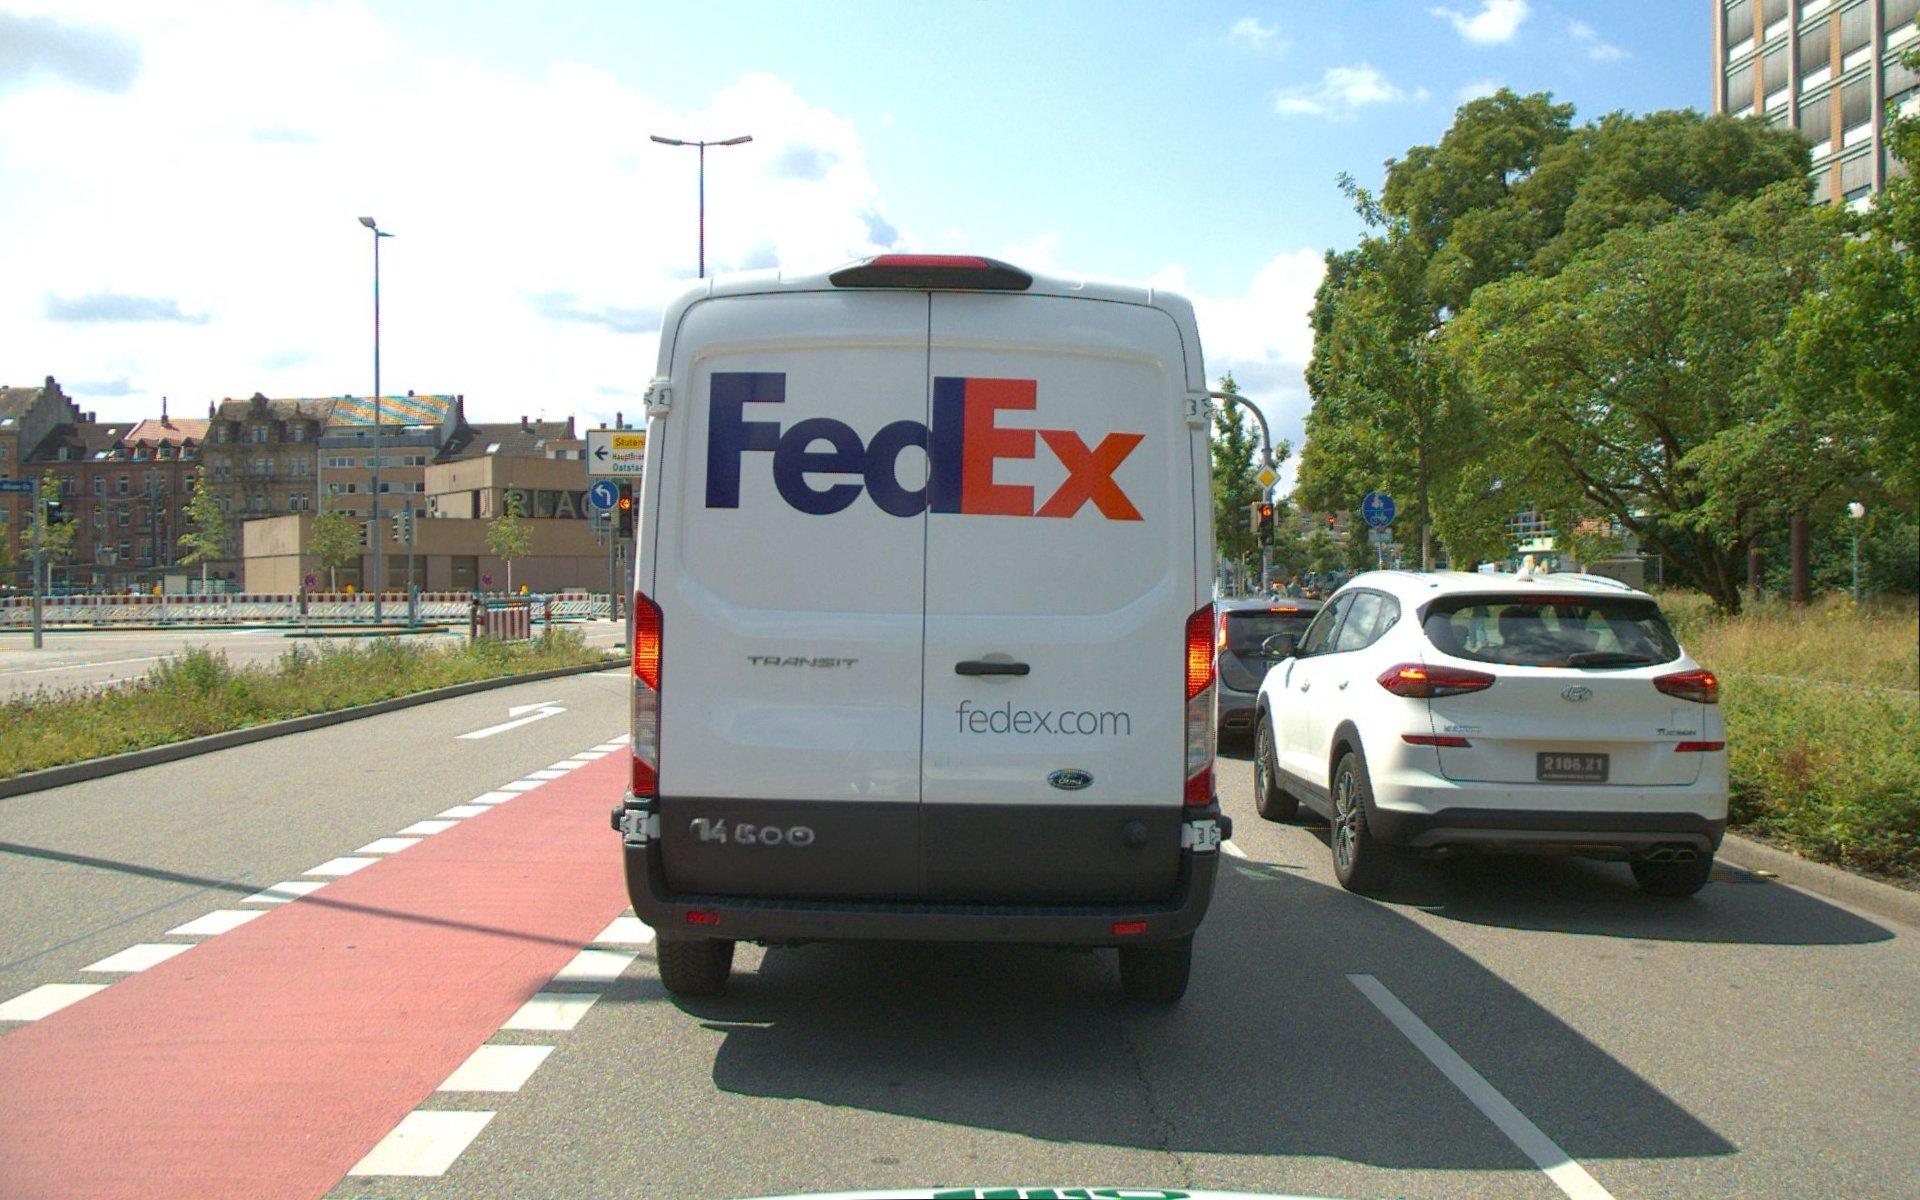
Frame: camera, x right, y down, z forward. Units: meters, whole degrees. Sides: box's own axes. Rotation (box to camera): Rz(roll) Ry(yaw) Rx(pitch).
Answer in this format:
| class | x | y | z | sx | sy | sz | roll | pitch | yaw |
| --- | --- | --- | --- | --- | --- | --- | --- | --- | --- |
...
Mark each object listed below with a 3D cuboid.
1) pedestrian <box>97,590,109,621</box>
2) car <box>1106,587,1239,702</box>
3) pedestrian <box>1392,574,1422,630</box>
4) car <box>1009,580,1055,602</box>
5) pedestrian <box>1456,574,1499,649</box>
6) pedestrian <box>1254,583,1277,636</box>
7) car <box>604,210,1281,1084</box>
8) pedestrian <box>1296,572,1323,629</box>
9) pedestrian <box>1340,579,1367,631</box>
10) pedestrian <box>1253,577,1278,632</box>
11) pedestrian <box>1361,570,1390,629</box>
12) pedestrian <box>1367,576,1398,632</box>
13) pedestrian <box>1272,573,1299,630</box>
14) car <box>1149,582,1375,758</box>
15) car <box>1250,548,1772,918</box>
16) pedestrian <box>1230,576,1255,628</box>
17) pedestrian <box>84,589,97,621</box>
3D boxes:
| class | x | y | z | sx | sy | sz | roll | pitch | yaw |
| --- | --- | --- | --- | --- | --- | --- | --- | --- | --- |
| pedestrian | -45.326 | 0.292 | 87.479 | 0.416 | 1.681 | 0.416 | 1 | -1 | 33 |
| car | 2.936 | 0.568 | 23.369 | 1.468 | 1.489 | 3.474 | 0 | 1 | 1 |
| pedestrian | 15.313 | 0.055 | 56.655 | 0.745 | 1.882 | 0.814 | 0 | 0 | -9 |
| car | 6.713 | -0.843 | 154.132 | 4.247 | 1.905 | 1.927 | 1 | 0 | 4 |
| pedestrian | 11.674 | 0.254 | 37.306 | 0.743 | 1.684 | 0.816 | 0 | 0 | 3 |
| pedestrian | 10.931 | 0.350 | 59.203 | 0.742 | 1.882 | 0.817 | 0 | 0 | 14 |
| car | -0.024 | 0.119 | 7.210 | 2.030 | 2.626 | 4.428 | 0 | 1 | 1 |
| pedestrian | 11.759 | 0.004 | 55.680 | 0.743 | 1.882 | 0.816 | 0 | 0 | 3 |
| pedestrian | 14.316 | 0.183 | 60.178 | 0.744 | 1.882 | 0.815 | -1 | 0 | -4 |
| pedestrian | 10.492 | 0.160 | 56.840 | 0.743 | 1.882 | 0.816 | 0 | 0 | 18 |
| pedestrian | 12.848 | -0.012 | 51.151 | 0.743 | 1.820 | 0.816 | 0 | 0 | 4 |
| pedestrian | 14.470 | 0.129 | 56.617 | 0.745 | 1.882 | 0.814 | -1 | 0 | -11 |
| pedestrian | 10.879 | 0.056 | 55.259 | 0.743 | 1.882 | 0.816 | 0 | 0 | 1 |
| car | 2.933 | 0.615 | 16.780 | 1.656 | 1.576 | 3.721 | 0 | 1 | 1 |
| car | 2.909 | 0.596 | 9.676 | 1.777 | 1.708 | 3.974 | 0 | 1 | 1 |
| pedestrian | 10.265 | 0.064 | 60.043 | 0.796 | 1.882 | 0.761 | 0 | 0 | 2 |
| pedestrian | -46.355 | 0.277 | 88.176 | 0.416 | 1.681 | 0.416 | 1 | -1 | 33 |
